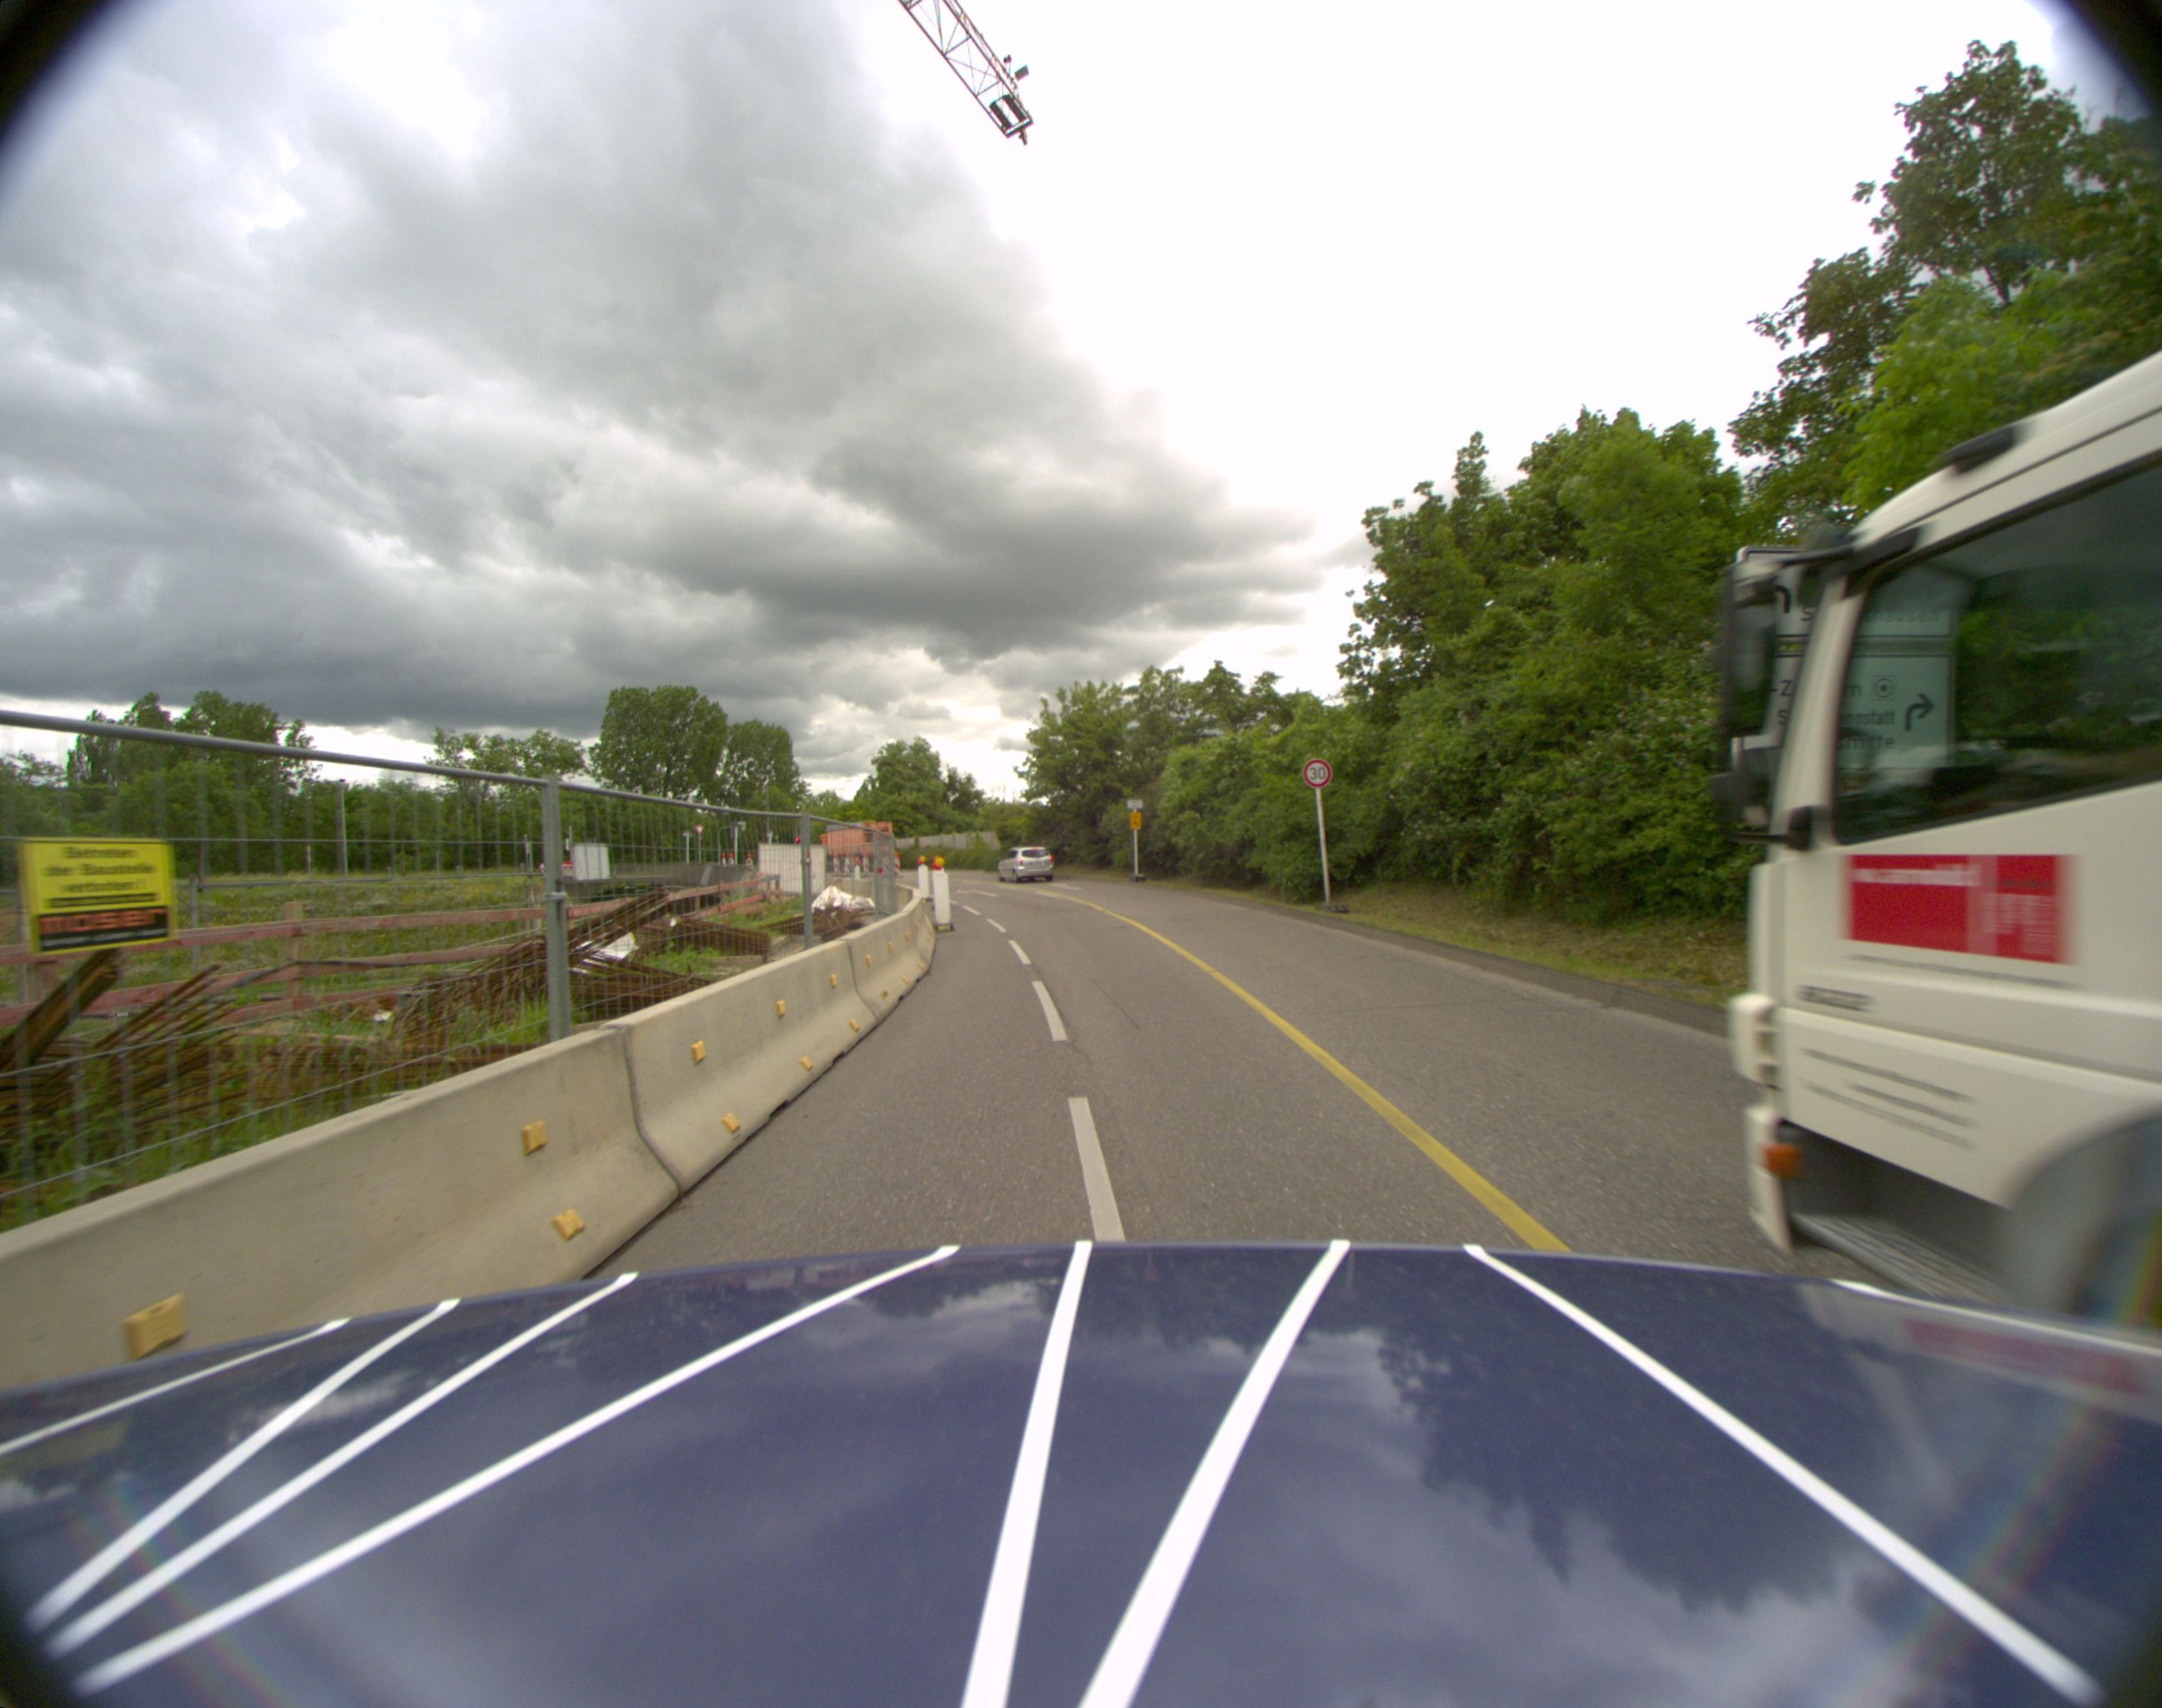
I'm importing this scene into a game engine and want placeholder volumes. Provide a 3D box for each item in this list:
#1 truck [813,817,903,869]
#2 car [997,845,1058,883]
[{"bbox_3d":[-18.212,-0.812,61.488,3.047,3.875,9.975,-3,2,-40],"label":"truck"},{"bbox_3d":[-2.546,0.420,35.189,1.896,1.554,4.094,-3,1,-17],"label":"car"}]
